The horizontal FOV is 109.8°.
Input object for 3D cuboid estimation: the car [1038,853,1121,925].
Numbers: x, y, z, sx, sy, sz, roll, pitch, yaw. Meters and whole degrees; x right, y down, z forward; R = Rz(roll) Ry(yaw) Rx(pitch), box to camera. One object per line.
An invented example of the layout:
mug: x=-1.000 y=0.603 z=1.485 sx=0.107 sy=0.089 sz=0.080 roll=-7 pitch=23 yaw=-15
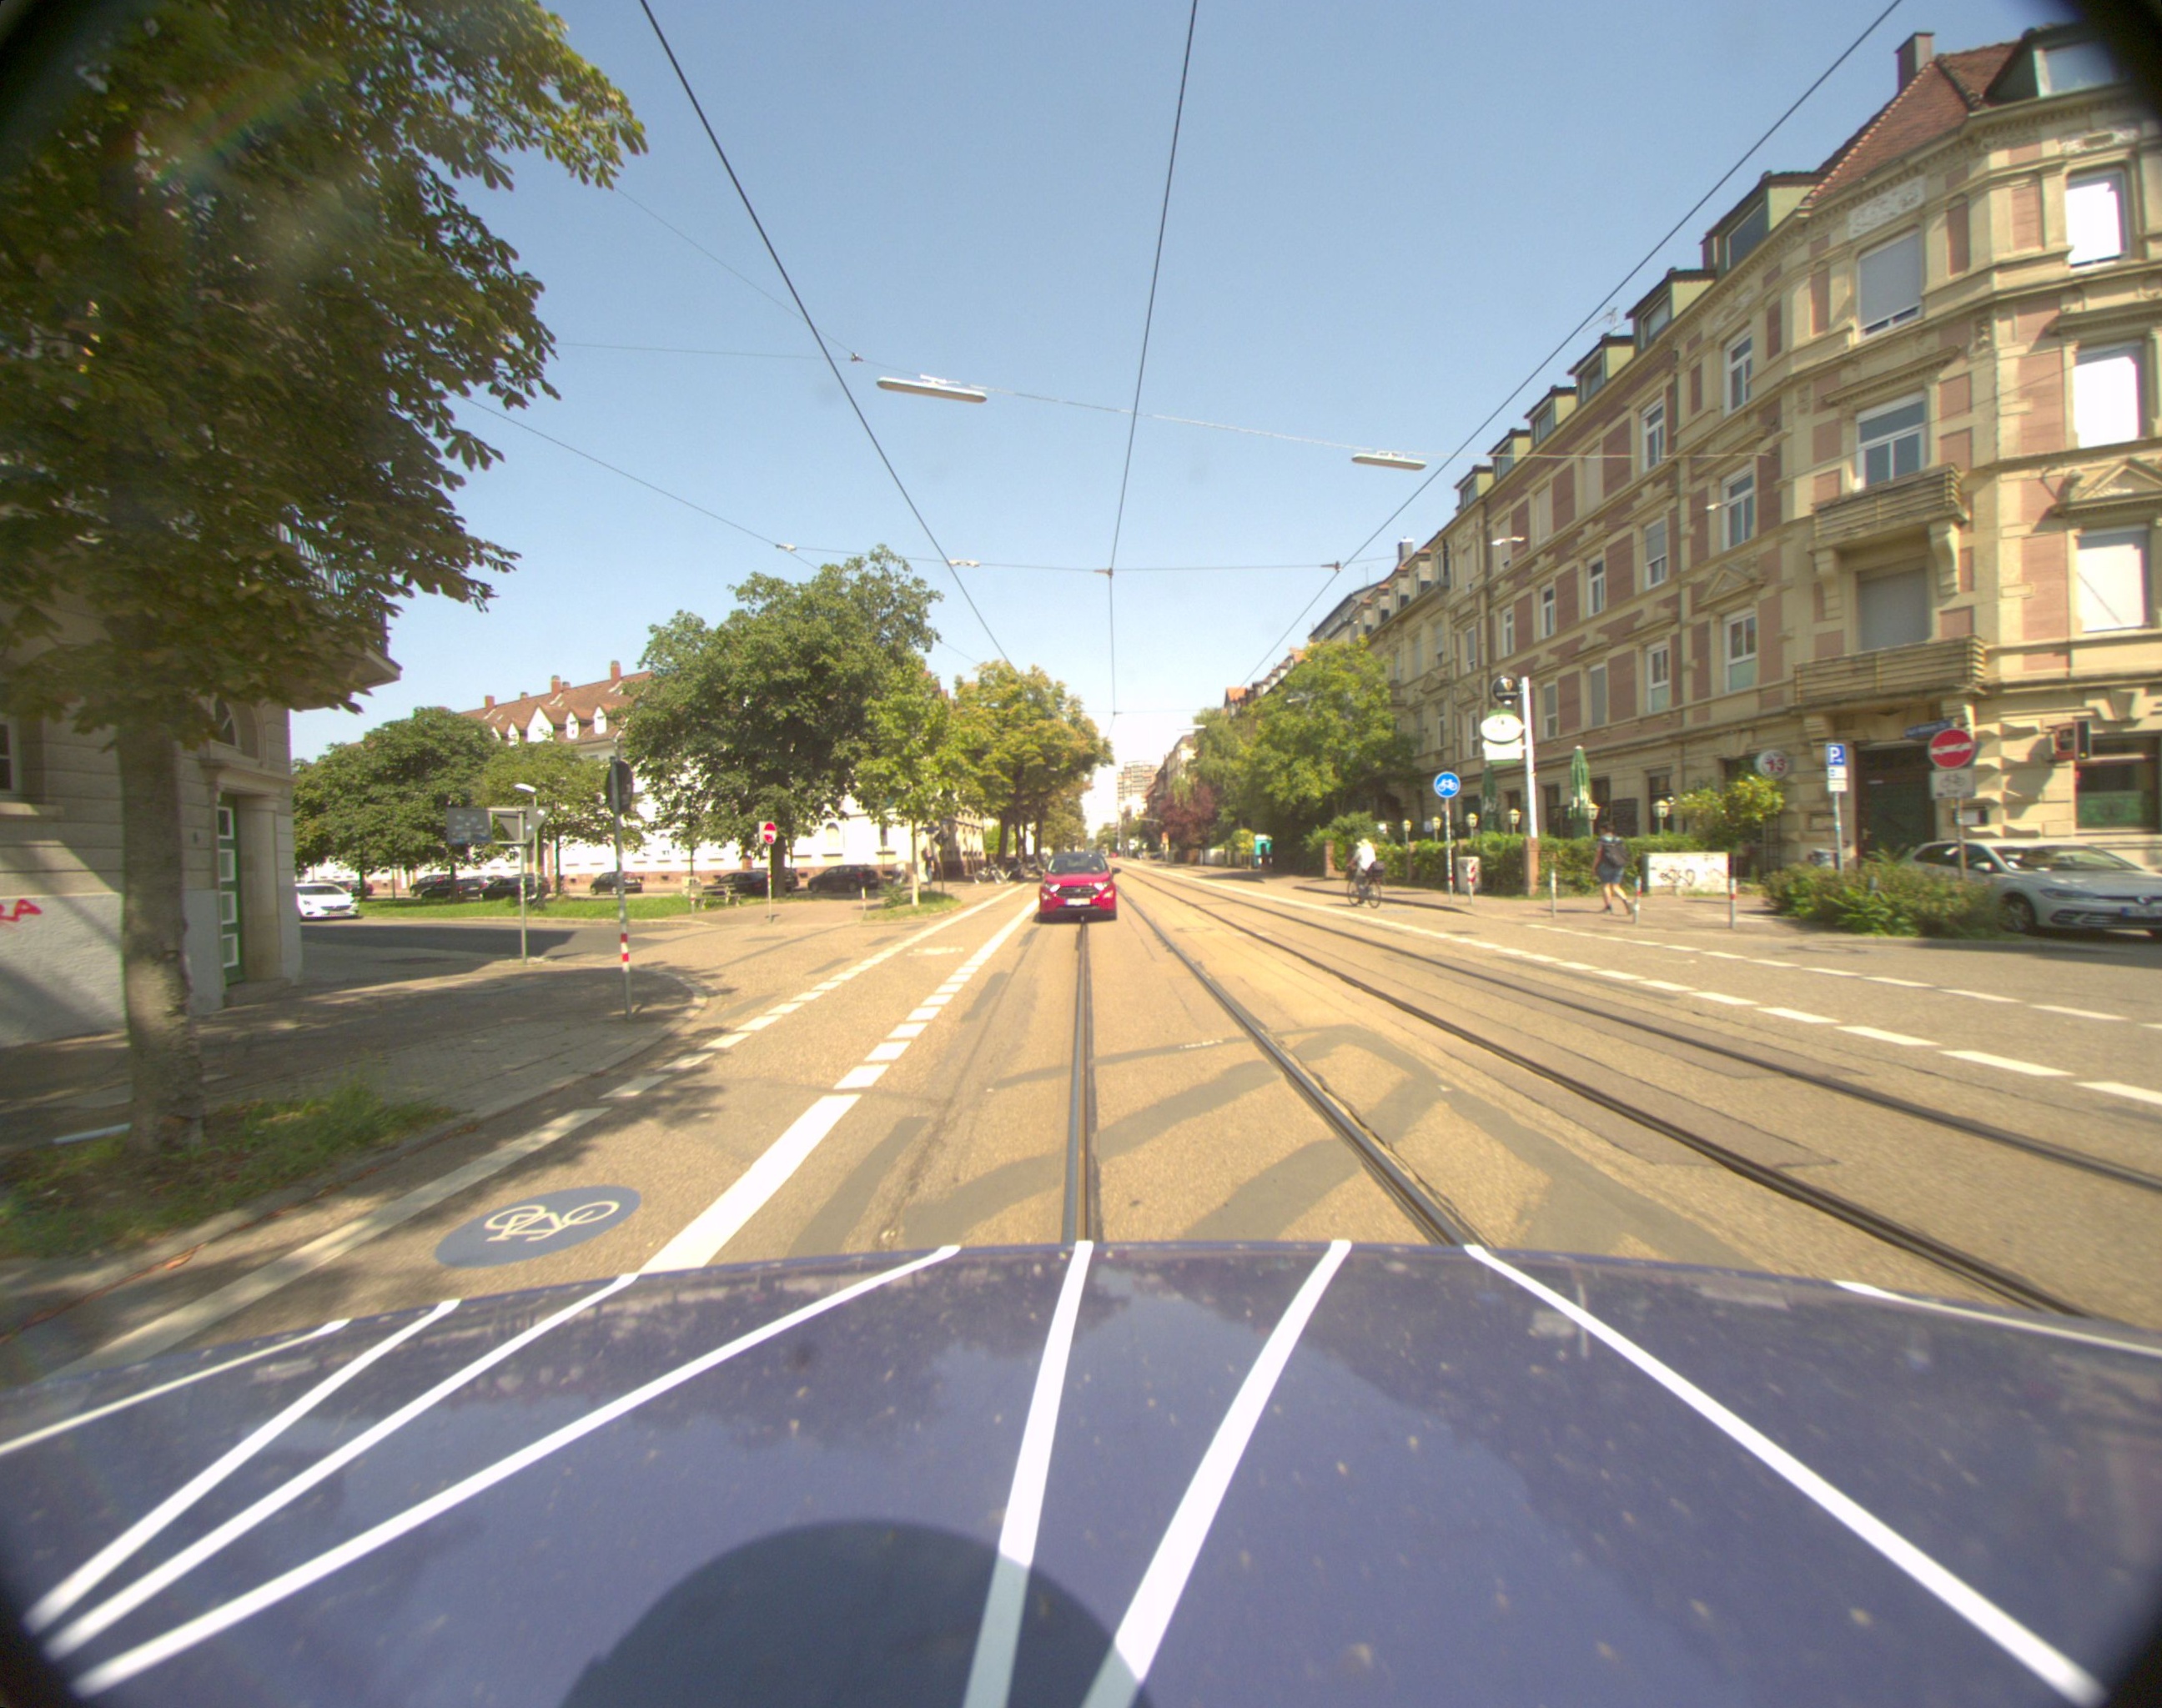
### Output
car: x=0.024 y=0.779 z=19.152 sx=1.815 sy=1.542 sz=4.021 roll=-2 pitch=0 yaw=2

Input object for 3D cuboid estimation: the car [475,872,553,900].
car: x=-32.237 y=1.822 z=43.212 sx=4.267 sy=1.422 sz=1.841 roll=-2 pitch=1 yaw=27

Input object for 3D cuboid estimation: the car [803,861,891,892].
car: x=-12.074 y=1.174 z=39.219 sx=3.990 sy=1.435 sz=1.978 roll=-2 pitch=1 yaw=23

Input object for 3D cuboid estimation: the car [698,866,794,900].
car: x=-15.210 y=1.322 z=34.485 sx=3.990 sy=1.422 sz=1.841 roll=-2 pitch=1 yaw=27

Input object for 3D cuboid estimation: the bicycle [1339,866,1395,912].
bicycle: x=7.236 y=0.855 z=19.285 sx=0.642 sy=1.070 sz=1.915 roll=-1 pitch=0 yaw=-1

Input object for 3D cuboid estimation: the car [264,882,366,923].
car: x=-30.586 y=1.904 z=30.331 sx=3.990 sy=1.470 sz=1.691 roll=-2 pitch=1 yaw=27

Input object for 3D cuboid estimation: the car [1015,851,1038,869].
car: x=-4.652 y=0.494 z=65.619 sx=1.598 sy=1.489 sz=4.052 roll=-2 pitch=0 yaw=1

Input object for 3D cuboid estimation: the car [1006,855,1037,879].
car: x=-3.936 y=0.825 z=50.520 sx=1.598 sy=1.489 sz=4.052 roll=-2 pitch=0 yaw=1

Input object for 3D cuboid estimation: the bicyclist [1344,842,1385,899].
bicyclist: x=7.206 y=0.405 z=19.342 sx=0.657 sy=1.420 sz=0.974 roll=-1 pitch=1 yaw=-1

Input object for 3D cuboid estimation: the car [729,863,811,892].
car: x=-17.100 y=1.293 z=41.788 sx=3.990 sy=1.430 sz=1.978 roll=-2 pitch=1 yaw=28

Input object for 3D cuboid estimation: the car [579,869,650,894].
car: x=-29.287 y=1.699 z=47.705 sx=3.990 sy=1.430 sz=1.978 roll=-2 pitch=1 yaw=28

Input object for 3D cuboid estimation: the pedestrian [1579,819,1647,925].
pedestrian: x=10.339 y=0.339 z=14.795 sx=0.657 sy=2.002 sz=0.975 roll=-1 pitch=1 yaw=5

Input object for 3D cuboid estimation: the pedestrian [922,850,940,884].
pedestrian: x=-7.837 y=0.681 z=39.838 sx=0.749 sy=1.775 sz=0.632 roll=-2 pitch=1 yaw=1

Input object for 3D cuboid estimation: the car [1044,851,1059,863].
car: x=-3.679 y=0.355 z=95.464 sx=1.555 sy=1.489 sz=4.265 roll=-2 pitch=0 yaw=1

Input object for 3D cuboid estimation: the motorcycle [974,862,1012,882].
motorcycle: x=-4.860 y=1.000 z=42.029 sx=2.000 sy=1.009 sz=0.796 roll=1 pitch=1 yaw=0

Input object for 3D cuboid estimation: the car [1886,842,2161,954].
car: x=15.328 y=0.580 z=12.156 sx=1.995 sy=1.480 sz=4.151 roll=-1 pitch=0 yaw=26

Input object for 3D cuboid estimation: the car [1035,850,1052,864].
car: x=-4.058 y=0.290 z=82.878 sx=1.598 sy=1.489 sz=4.052 roll=-2 pitch=0 yaw=1

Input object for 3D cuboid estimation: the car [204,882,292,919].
car: x=-36.903 y=2.034 z=33.630 sx=3.990 sy=1.470 sz=1.601 roll=-2 pitch=1 yaw=27
